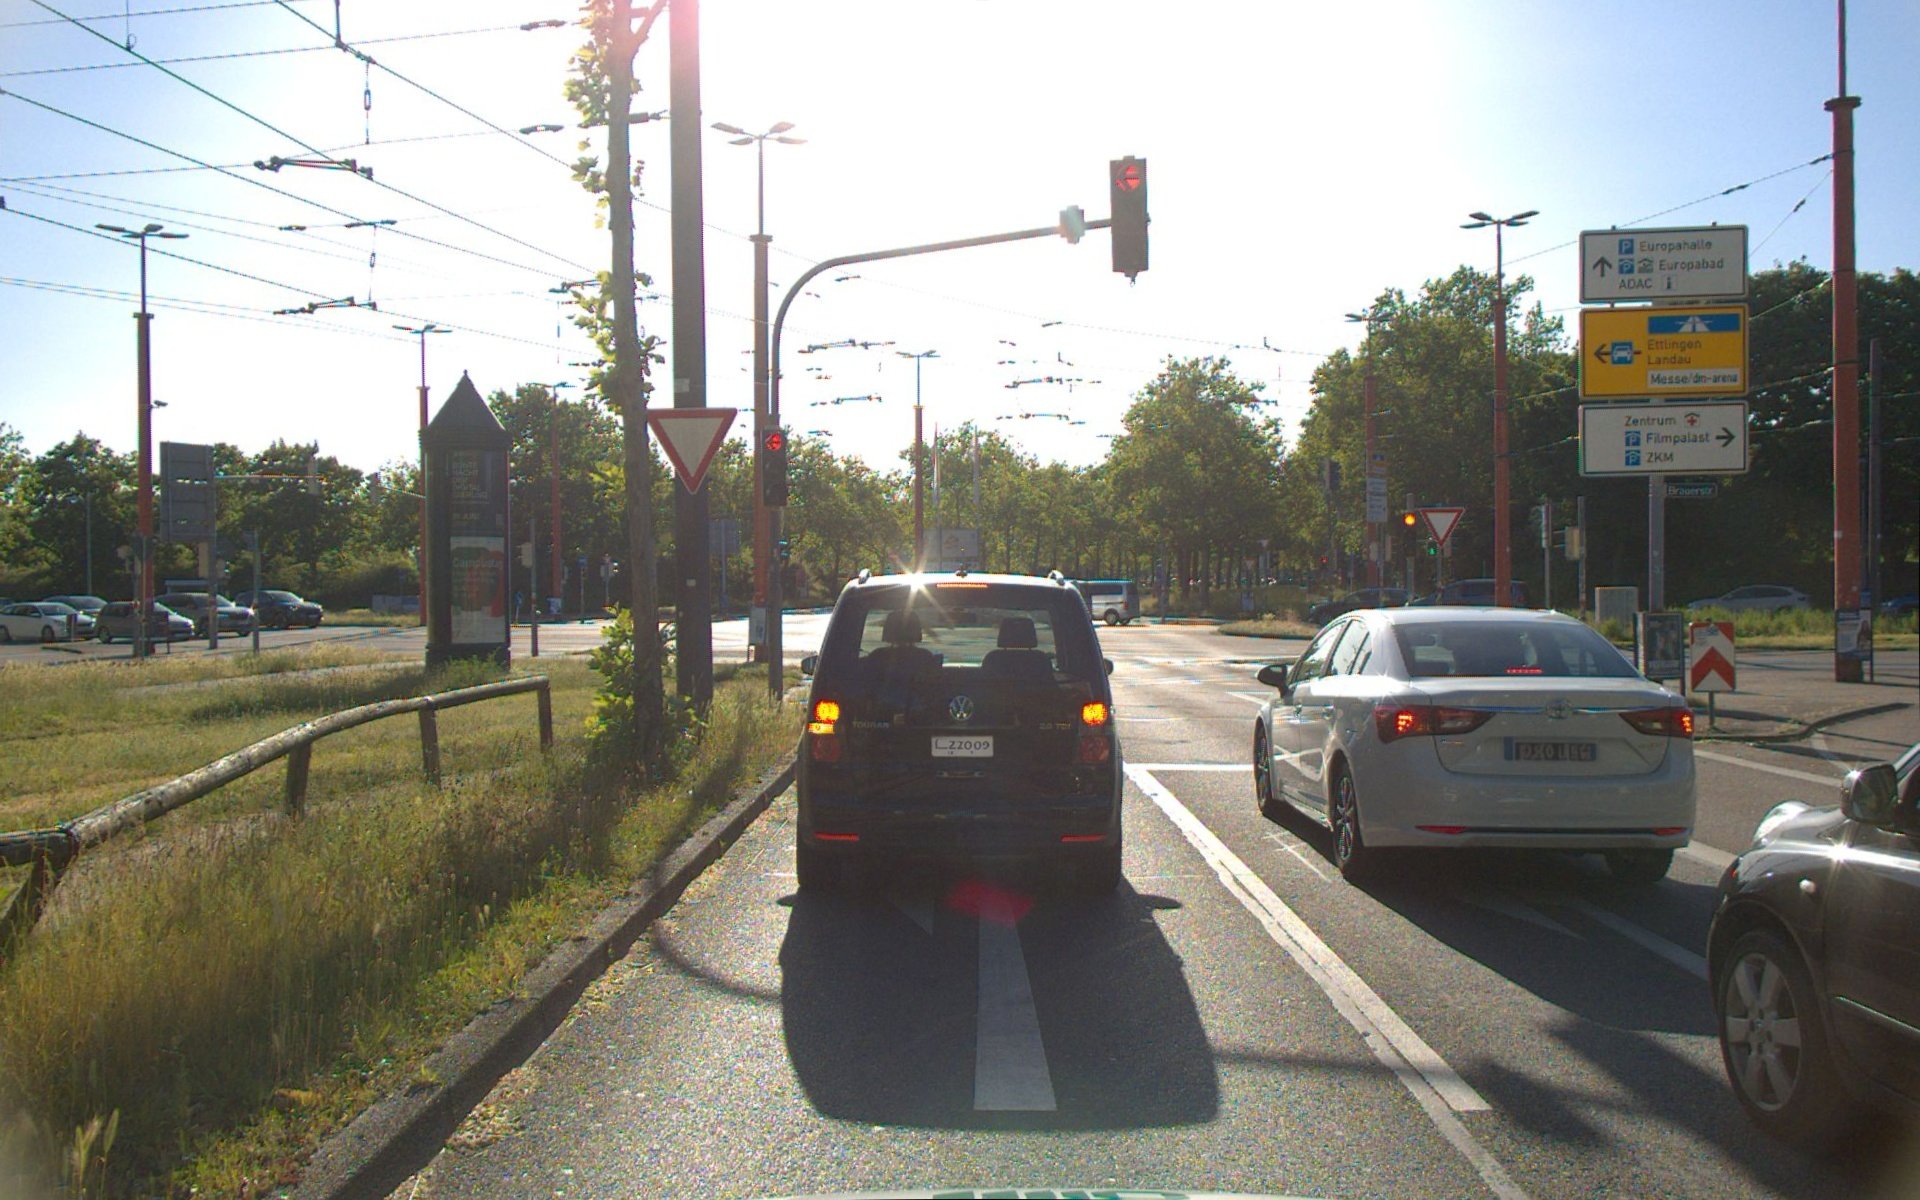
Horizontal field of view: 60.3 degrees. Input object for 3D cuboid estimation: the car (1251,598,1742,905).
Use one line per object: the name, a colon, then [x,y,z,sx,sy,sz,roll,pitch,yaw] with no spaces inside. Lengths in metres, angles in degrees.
car: [2.973,0.731,10.129,1.685,1.463,4.198,1,0,1]

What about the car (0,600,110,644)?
car: [-34.693,0.807,63.161,4.091,1.640,1.867,0,0,25]

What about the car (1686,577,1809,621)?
car: [28.214,-0.037,59.301,3.887,1.466,1.685,1,0,27]

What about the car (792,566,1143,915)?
car: [0.001,0.663,9.805,1.666,1.650,3.896,0,0,-1]

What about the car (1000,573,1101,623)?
car: [3.731,-0.083,68.002,3.754,1.923,1.763,1,0,22]

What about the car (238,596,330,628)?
car: [-29.277,0.512,71.592,3.913,1.353,1.694,0,0,31]

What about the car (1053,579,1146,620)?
car: [5.984,-0.019,70.876,3.570,1.684,1.679,1,0,25]

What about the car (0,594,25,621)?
car: [-61.282,0.493,104.829,4.026,1.685,1.799,0,0,32]

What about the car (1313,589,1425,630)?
car: [16.255,0.378,65.772,4.040,1.537,1.821,1,0,26]

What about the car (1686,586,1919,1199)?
car: [3.188,0.743,3.584,1.620,1.526,3.614,1,0,0]

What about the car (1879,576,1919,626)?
car: [32.328,0.038,53.951,4.039,1.626,1.827,0,0,27]

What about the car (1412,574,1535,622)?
car: [18.899,-0.076,60.923,4.097,1.673,1.758,1,0,26]

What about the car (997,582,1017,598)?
car: [5.318,-1.128,185.167,1.874,1.664,4.003,1,0,6]

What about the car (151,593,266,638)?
car: [-29.040,0.572,63.935,3.907,1.673,1.999,0,0,24]
